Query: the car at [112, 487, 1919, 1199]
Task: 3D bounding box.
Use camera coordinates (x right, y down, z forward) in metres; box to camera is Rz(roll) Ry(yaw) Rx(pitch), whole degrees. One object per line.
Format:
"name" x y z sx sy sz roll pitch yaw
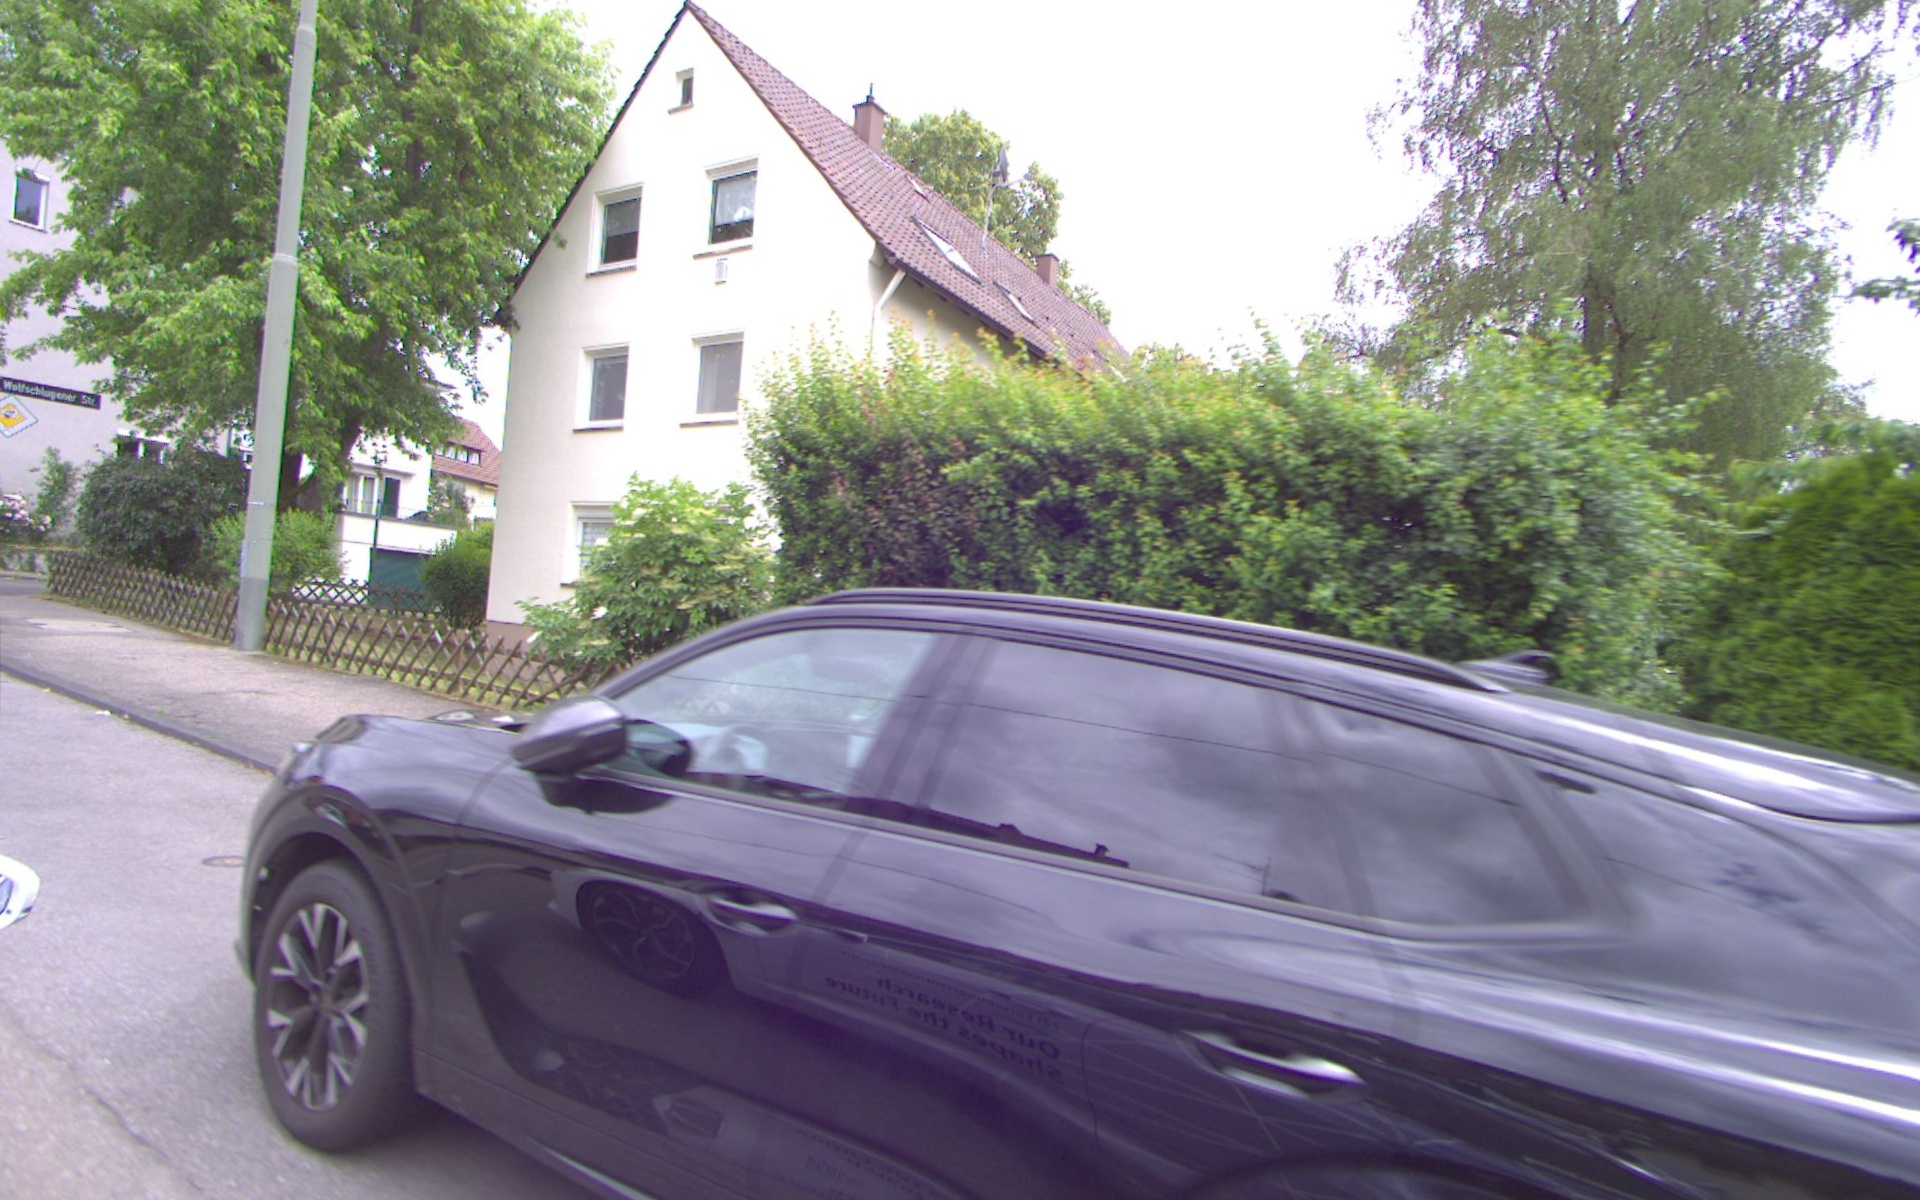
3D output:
"car" -0.112 0.749 2.662 4.464 1.634 1.814 6 -2 31
